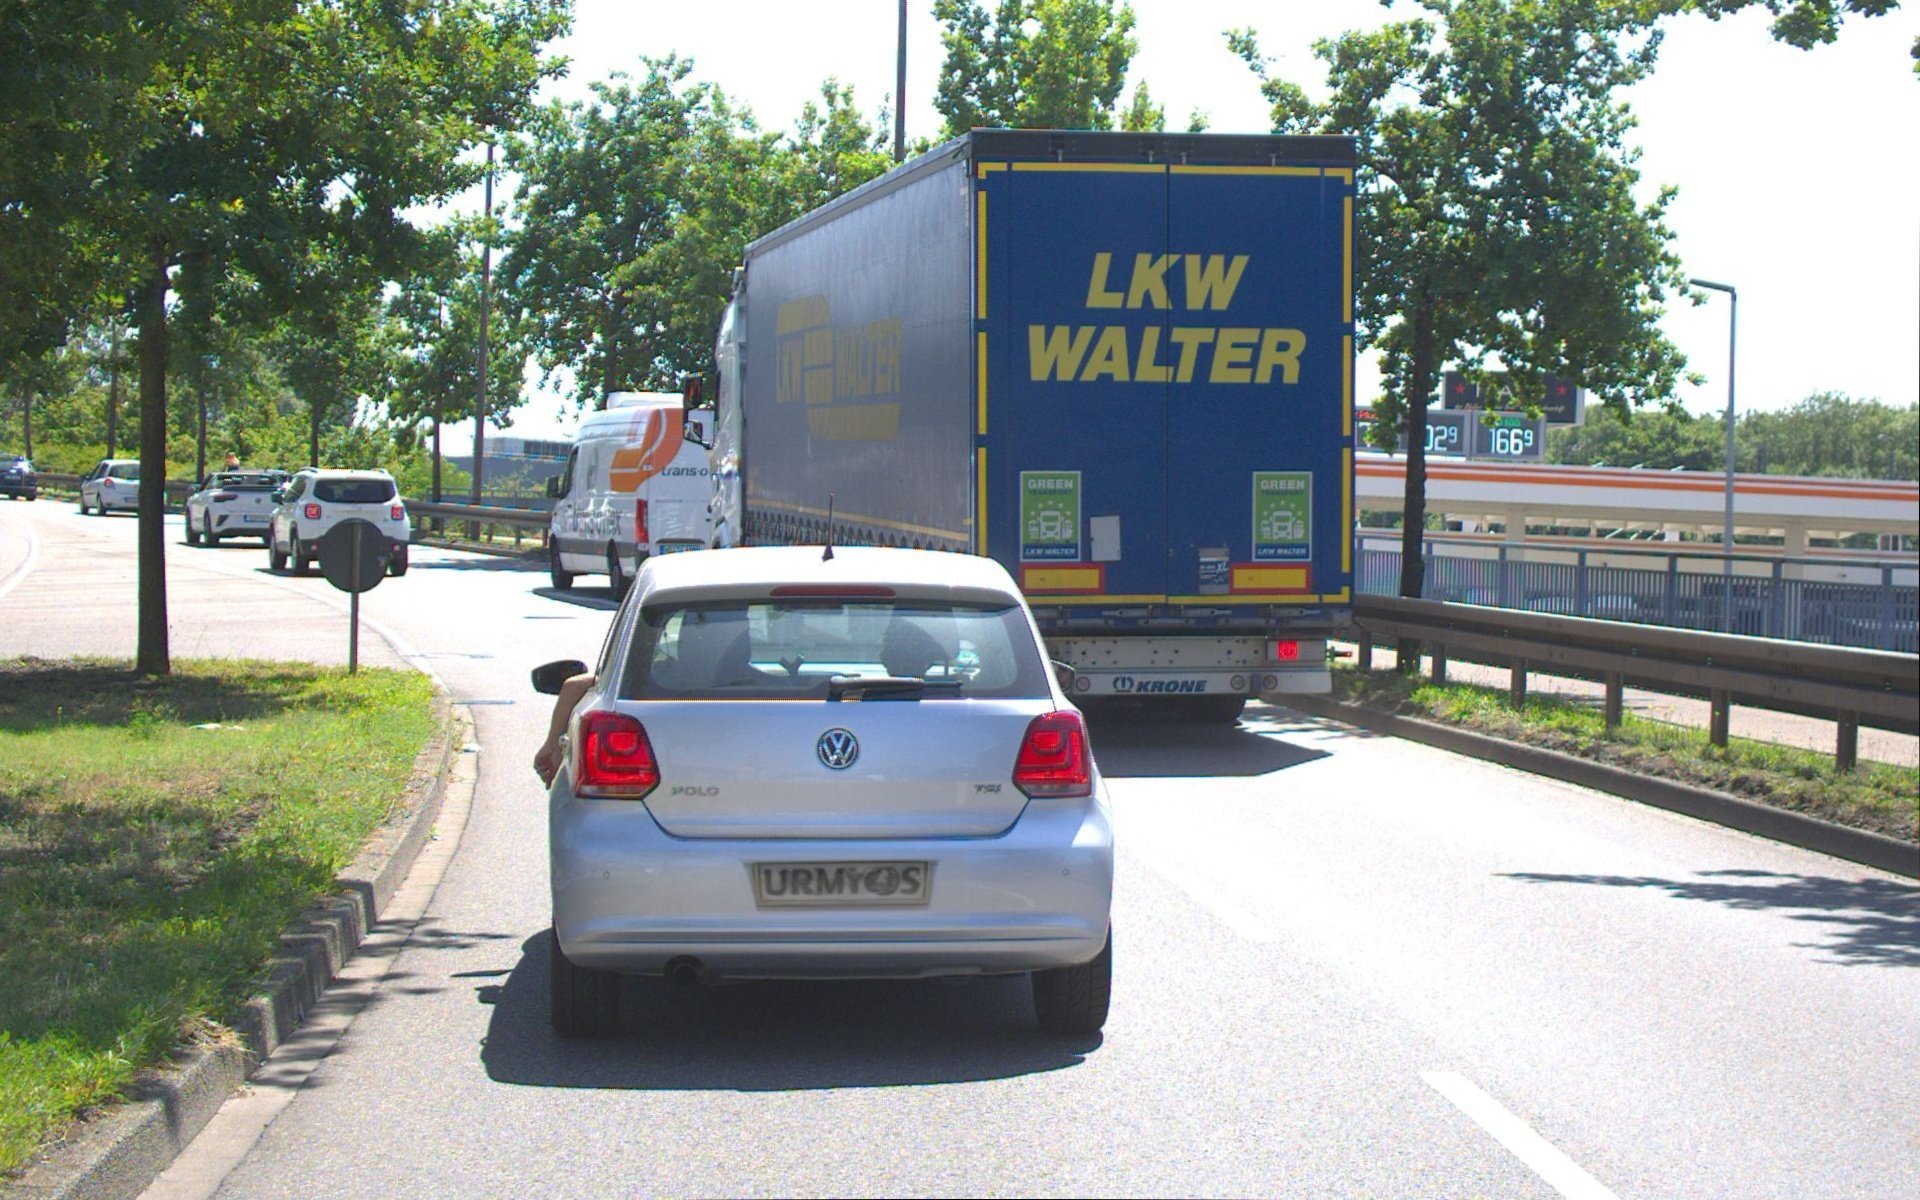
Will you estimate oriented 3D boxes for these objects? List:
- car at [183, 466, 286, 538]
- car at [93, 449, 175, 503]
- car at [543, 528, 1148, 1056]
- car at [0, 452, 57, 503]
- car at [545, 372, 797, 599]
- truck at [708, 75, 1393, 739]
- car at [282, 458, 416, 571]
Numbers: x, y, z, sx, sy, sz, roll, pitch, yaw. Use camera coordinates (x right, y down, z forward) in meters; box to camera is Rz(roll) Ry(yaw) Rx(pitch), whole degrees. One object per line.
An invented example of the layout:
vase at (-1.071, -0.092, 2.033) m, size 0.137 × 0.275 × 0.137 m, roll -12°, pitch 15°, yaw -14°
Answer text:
car at (-14.434, -1.946, 68.305) m, size 1.494 × 1.355 × 3.664 m, roll 1°, pitch 1°, yaw -20°
car at (-21.687, -3.245, 90.204) m, size 1.607 × 1.355 × 3.664 m, roll 1°, pitch 1°, yaw -21°
car at (-0.458, 0.519, 11.277) m, size 1.646 × 1.434 × 3.537 m, roll 1°, pitch 0°, yaw -5°
car at (-29.194, -3.814, 107.486) m, size 1.664 × 1.460 × 3.582 m, roll 1°, pitch 0°, yaw -17°
car at (-4.136, -1.625, 47.974) m, size 2.175 × 2.890 × 6.361 m, roll 1°, pitch 2°, yaw -17°
truck at (0.005, -1.418, 30.250) m, size 2.832 × 4.184 × 16.479 m, roll 1°, pitch 1°, yaw -10°
car at (-9.902, -1.349, 55.481) m, size 1.903 × 1.712 × 4.225 m, roll 1°, pitch 0°, yaw -13°
